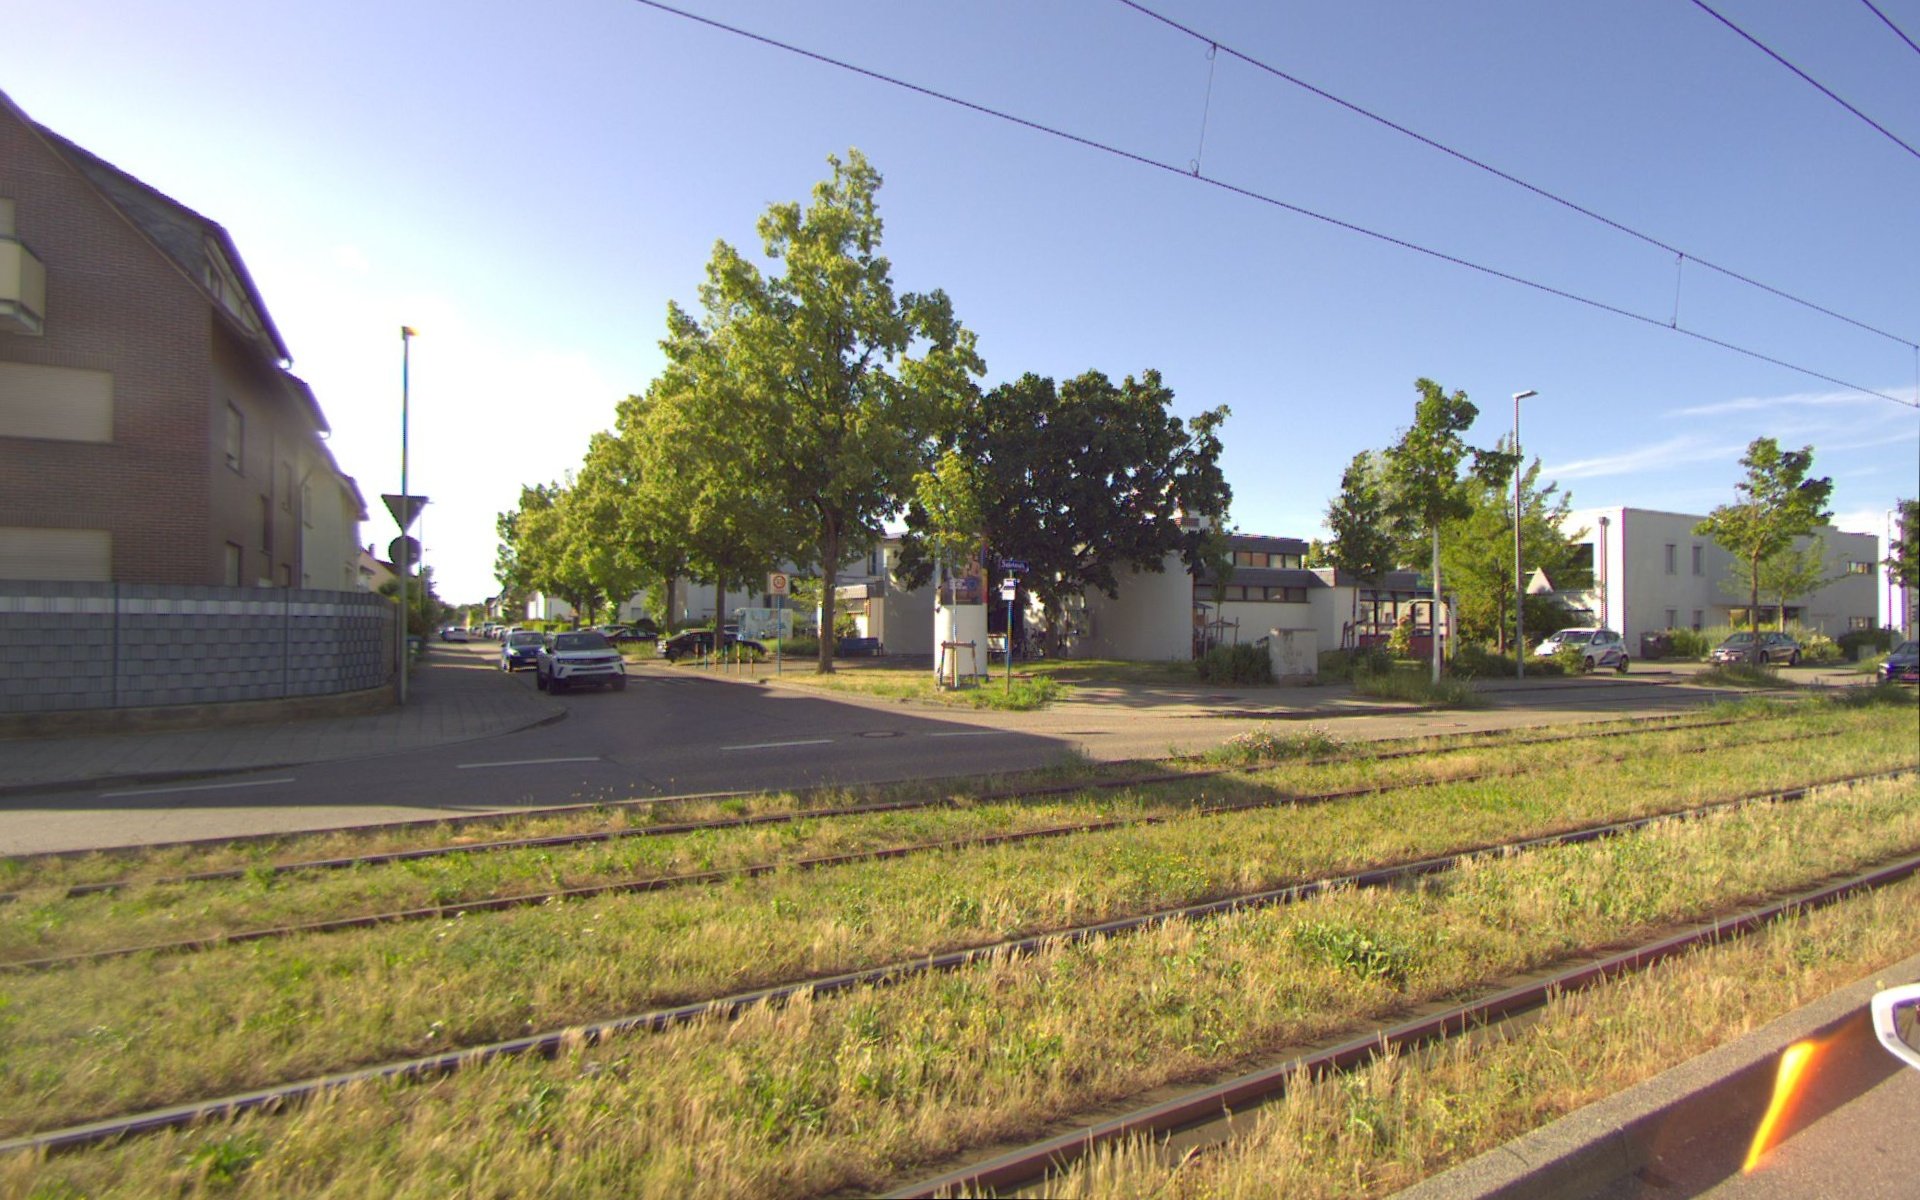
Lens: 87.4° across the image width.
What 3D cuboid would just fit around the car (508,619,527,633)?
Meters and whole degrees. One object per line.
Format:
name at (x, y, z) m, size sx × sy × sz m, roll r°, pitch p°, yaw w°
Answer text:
car at (-47.227, 2.761, 107.202) m, size 1.733 × 1.351 × 3.256 m, roll 2°, pitch 0°, yaw -25°

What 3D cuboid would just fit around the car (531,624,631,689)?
car at (-9.915, 1.408, 26.118) m, size 1.817 × 1.449 × 3.842 m, roll -1°, pitch 0°, yaw -30°

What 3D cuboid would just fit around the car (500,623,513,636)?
car at (-52.597, 3.407, 116.571) m, size 1.305 × 1.351 × 3.256 m, roll 2°, pitch 0°, yaw -25°

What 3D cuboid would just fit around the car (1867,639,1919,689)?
car at (28.972, 1.897, 29.985) m, size 4.339 × 1.407 × 1.679 m, roll 2°, pitch -3°, yaw -32°

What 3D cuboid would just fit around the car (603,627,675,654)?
car at (-18.630, 2.327, 58.279) m, size 3.777 × 1.505 × 1.718 m, roll 1°, pitch 0°, yaw -25°

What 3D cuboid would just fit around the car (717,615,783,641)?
car at (-13.972, 1.838, 66.817) m, size 3.949 × 1.639 × 1.760 m, roll 1°, pitch 0°, yaw -27°

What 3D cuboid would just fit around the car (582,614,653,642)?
car at (-21.209, 1.709, 62.202) m, size 3.954 × 1.638 × 1.615 m, roll 1°, pitch 0°, yaw -31°

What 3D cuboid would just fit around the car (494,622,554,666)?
car at (-16.762, 1.670, 38.538) m, size 1.706 × 1.481 × 3.600 m, roll 2°, pitch 0°, yaw -30°

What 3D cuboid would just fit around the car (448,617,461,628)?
car at (-65.632, 2.889, 130.455) m, size 1.416 × 1.351 × 3.256 m, roll 2°, pitch 0°, yaw -25°

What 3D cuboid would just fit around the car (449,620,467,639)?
car at (-50.848, 2.975, 101.717) m, size 1.441 × 1.687 × 3.939 m, roll 2°, pitch 0°, yaw -25°

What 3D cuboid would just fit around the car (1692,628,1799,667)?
car at (31.995, 1.936, 40.914) m, size 4.262 × 1.480 × 1.804 m, roll 2°, pitch 0°, yaw -27°

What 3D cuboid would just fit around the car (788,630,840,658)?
car at (-6.980, 2.081, 47.821) m, size 1.324 × 1.228 × 4.004 m, roll 2°, pitch -1°, yaw -25°

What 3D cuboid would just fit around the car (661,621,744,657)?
car at (-10.954, 1.636, 42.719) m, size 3.269 × 1.429 × 1.646 m, roll 1°, pitch 0°, yaw -20°

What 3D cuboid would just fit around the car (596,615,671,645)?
car at (-19.602, 1.780, 60.301) m, size 4.107 × 1.697 × 1.840 m, roll 1°, pitch 0°, yaw -25°

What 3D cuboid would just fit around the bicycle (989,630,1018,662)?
bicycle at (1.476, 1.575, 34.265) m, size 1.025 × 1.073 × 0.303 m, roll -1°, pitch -2°, yaw 42°

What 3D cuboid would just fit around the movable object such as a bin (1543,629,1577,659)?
movable object such as a bin at (28.366, 2.072, 47.482) m, size 1.401 × 1.401 × 0.662 m, roll 2°, pitch 0°, yaw -24°

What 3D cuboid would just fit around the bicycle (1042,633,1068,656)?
bicycle at (3.333, 1.568, 35.313) m, size 0.299 × 0.790 × 1.052 m, roll 1°, pitch -2°, yaw -36°

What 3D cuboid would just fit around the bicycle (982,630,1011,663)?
bicycle at (1.228, 1.575, 34.003) m, size 1.041 × 1.097 × 0.303 m, roll -1°, pitch -2°, yaw 42°

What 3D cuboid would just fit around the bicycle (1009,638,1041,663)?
bicycle at (2.244, 1.741, 34.672) m, size 0.332 × 0.836 × 1.231 m, roll 2°, pitch -2°, yaw -40°

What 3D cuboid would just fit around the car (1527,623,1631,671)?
car at (21.034, 1.594, 34.120) m, size 3.734 × 1.511 × 1.535 m, roll 2°, pitch 0°, yaw -33°
